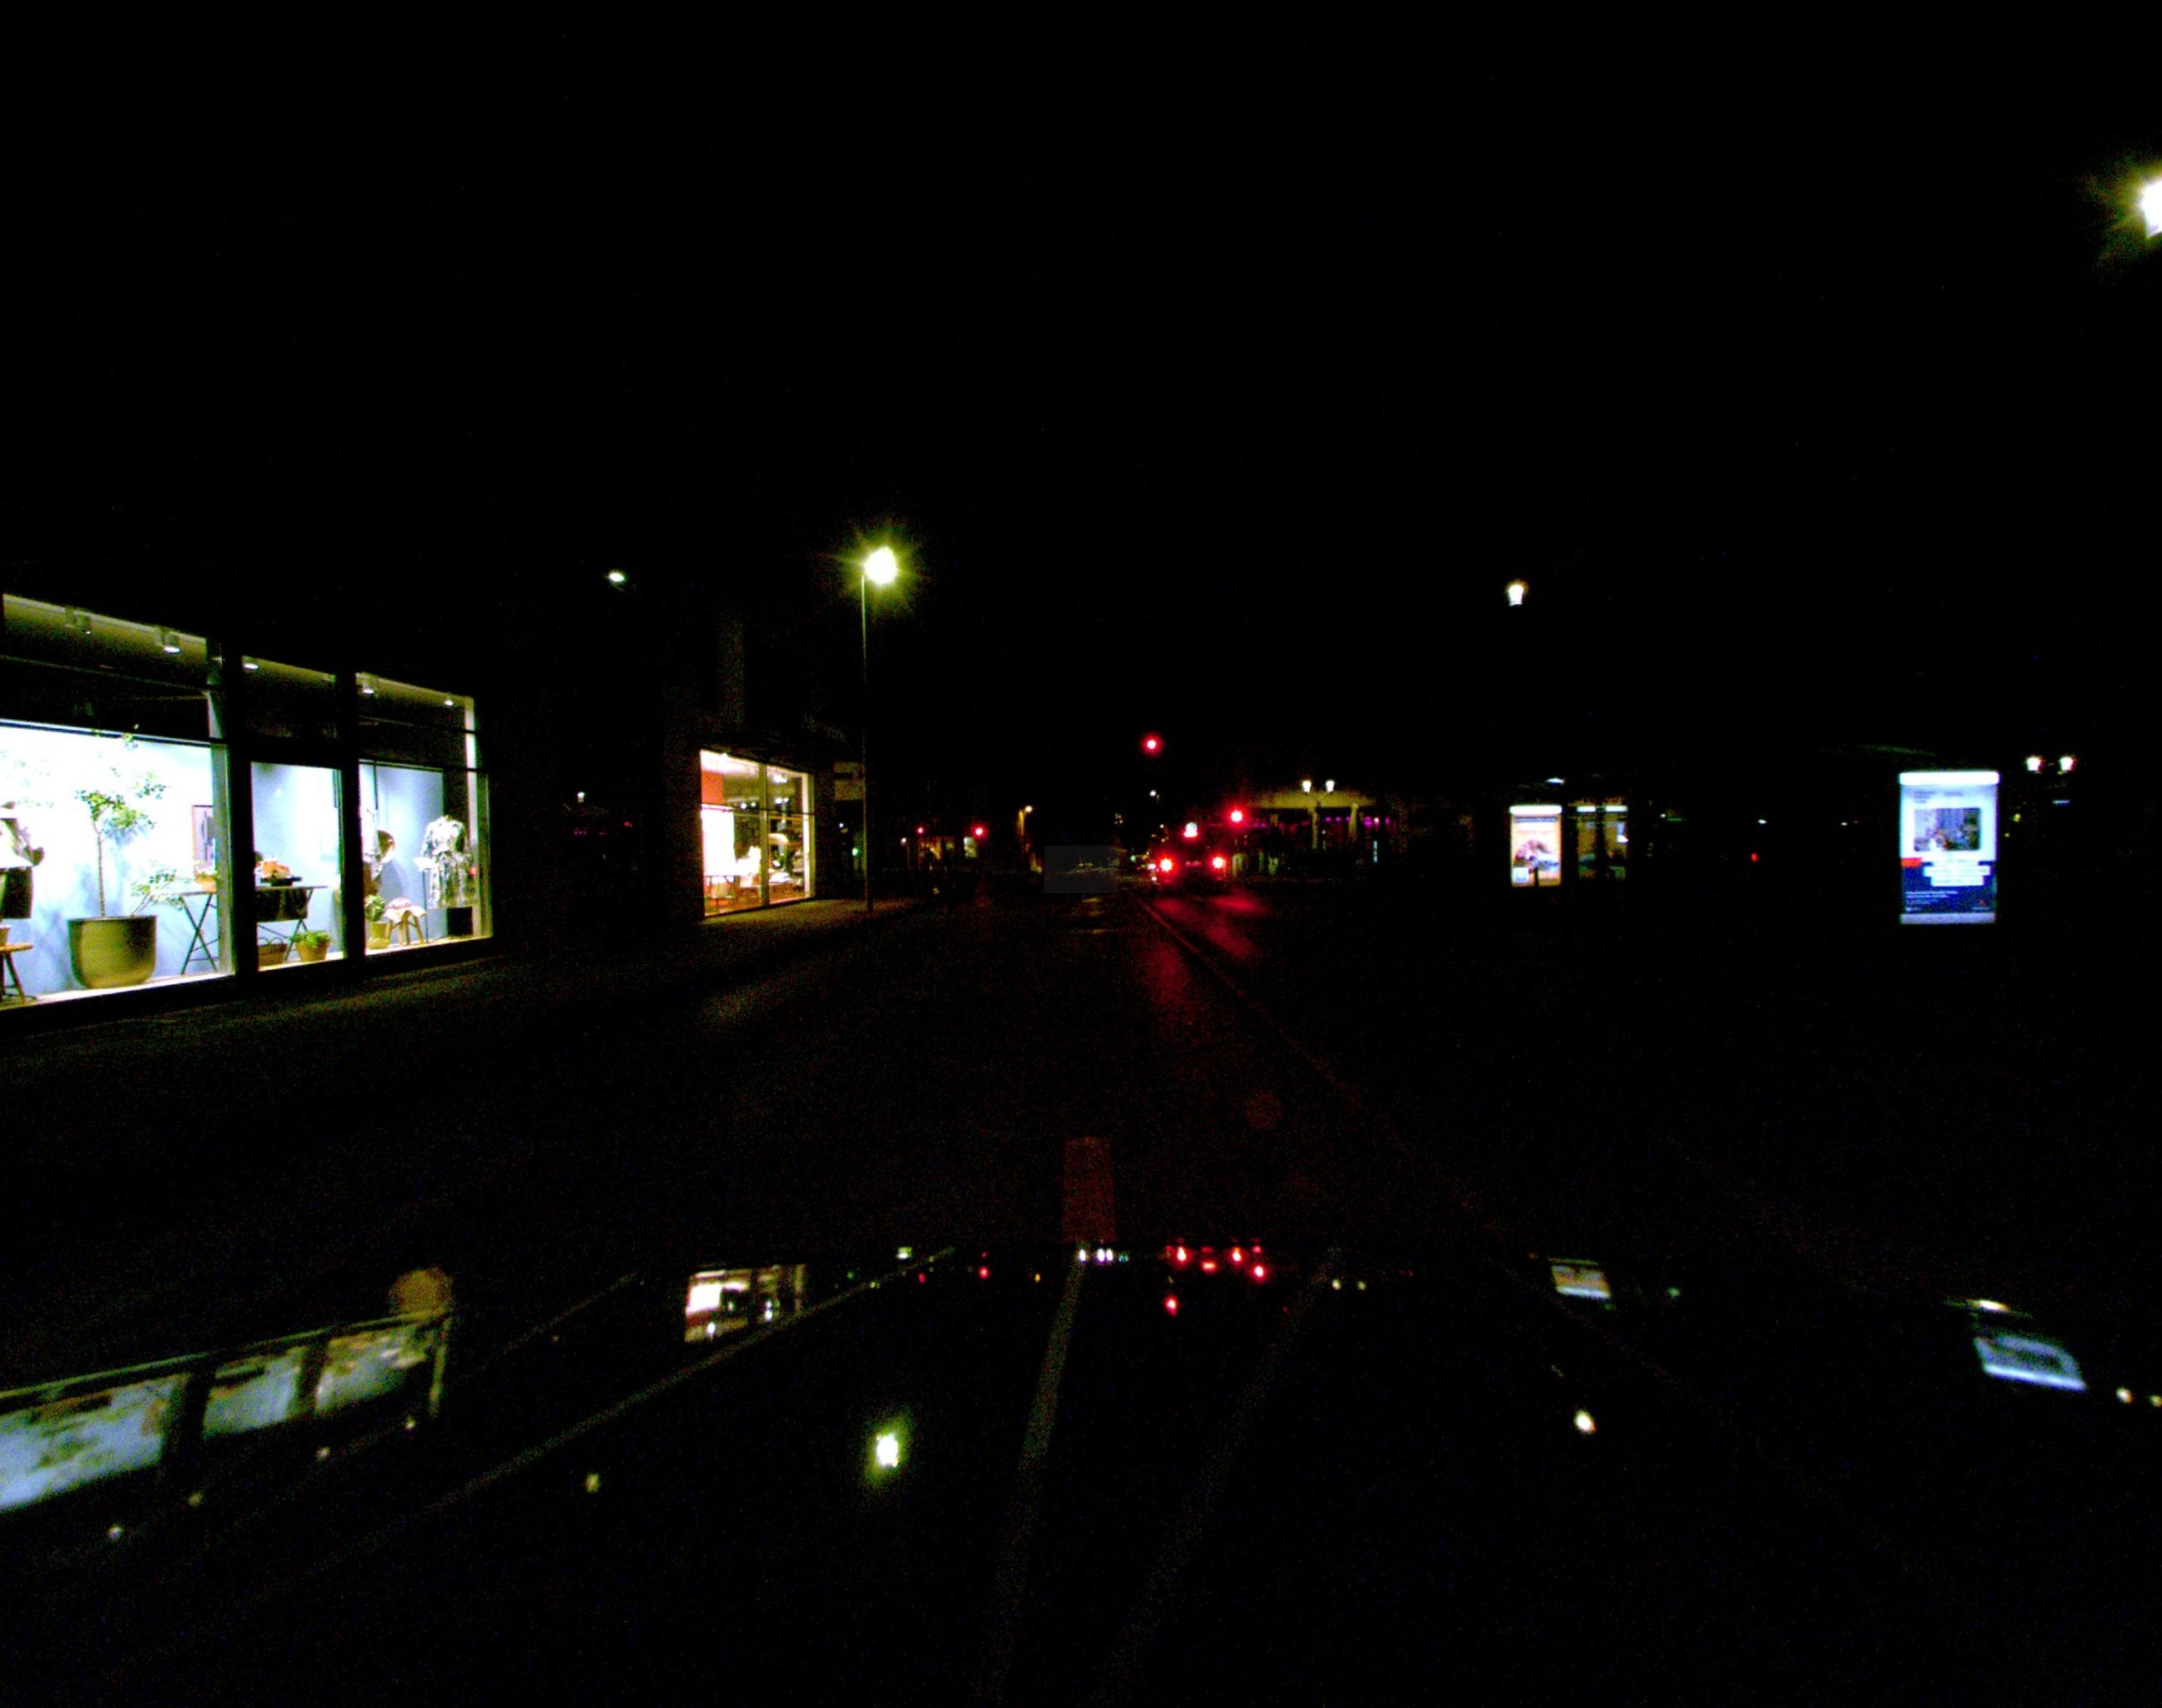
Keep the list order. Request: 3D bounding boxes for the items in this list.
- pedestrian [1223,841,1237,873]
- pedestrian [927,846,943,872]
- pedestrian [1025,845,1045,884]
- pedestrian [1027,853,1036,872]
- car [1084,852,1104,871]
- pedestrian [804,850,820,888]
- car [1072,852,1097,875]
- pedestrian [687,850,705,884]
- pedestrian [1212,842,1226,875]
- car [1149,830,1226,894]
[{"bbox_3d":[7.788,0.145,39.670,0.646,1.619,0.583,-2,1,11],"label":"pedestrian"},{"bbox_3d":[-9.642,0.325,50.333,0.877,1.723,0.647,0,1,4],"label":"pedestrian"},{"bbox_3d":[-2.007,0.452,33.129,0.539,1.672,0.648,-2,1,23],"label":"pedestrian"},{"bbox_3d":[-3.999,0.670,61.814,0.647,1.487,0.830,0,1,2],"label":"pedestrian"},{"bbox_3d":[1.241,0.729,75.743,1.879,1.718,3.999,-2,1,1],"label":"car"},{"bbox_3d":[-11.910,0.662,33.625,0.407,1.677,0.487,-2,1,5],"label":"pedestrian"},{"bbox_3d":[0.281,0.711,60.165,1.713,1.660,3.738,-2,1,3],"label":"car"},{"bbox_3d":[-19.832,0.662,39.162,0.524,1.707,0.567,-2,1,7],"label":"pedestrian"},{"bbox_3d":[6.902,0.210,37.999,0.646,1.619,0.583,-2,1,11],"label":"pedestrian"},{"bbox_3d":[3.400,0.212,25.195,1.971,1.861,4.912,-1,1,2],"label":"car"}]
